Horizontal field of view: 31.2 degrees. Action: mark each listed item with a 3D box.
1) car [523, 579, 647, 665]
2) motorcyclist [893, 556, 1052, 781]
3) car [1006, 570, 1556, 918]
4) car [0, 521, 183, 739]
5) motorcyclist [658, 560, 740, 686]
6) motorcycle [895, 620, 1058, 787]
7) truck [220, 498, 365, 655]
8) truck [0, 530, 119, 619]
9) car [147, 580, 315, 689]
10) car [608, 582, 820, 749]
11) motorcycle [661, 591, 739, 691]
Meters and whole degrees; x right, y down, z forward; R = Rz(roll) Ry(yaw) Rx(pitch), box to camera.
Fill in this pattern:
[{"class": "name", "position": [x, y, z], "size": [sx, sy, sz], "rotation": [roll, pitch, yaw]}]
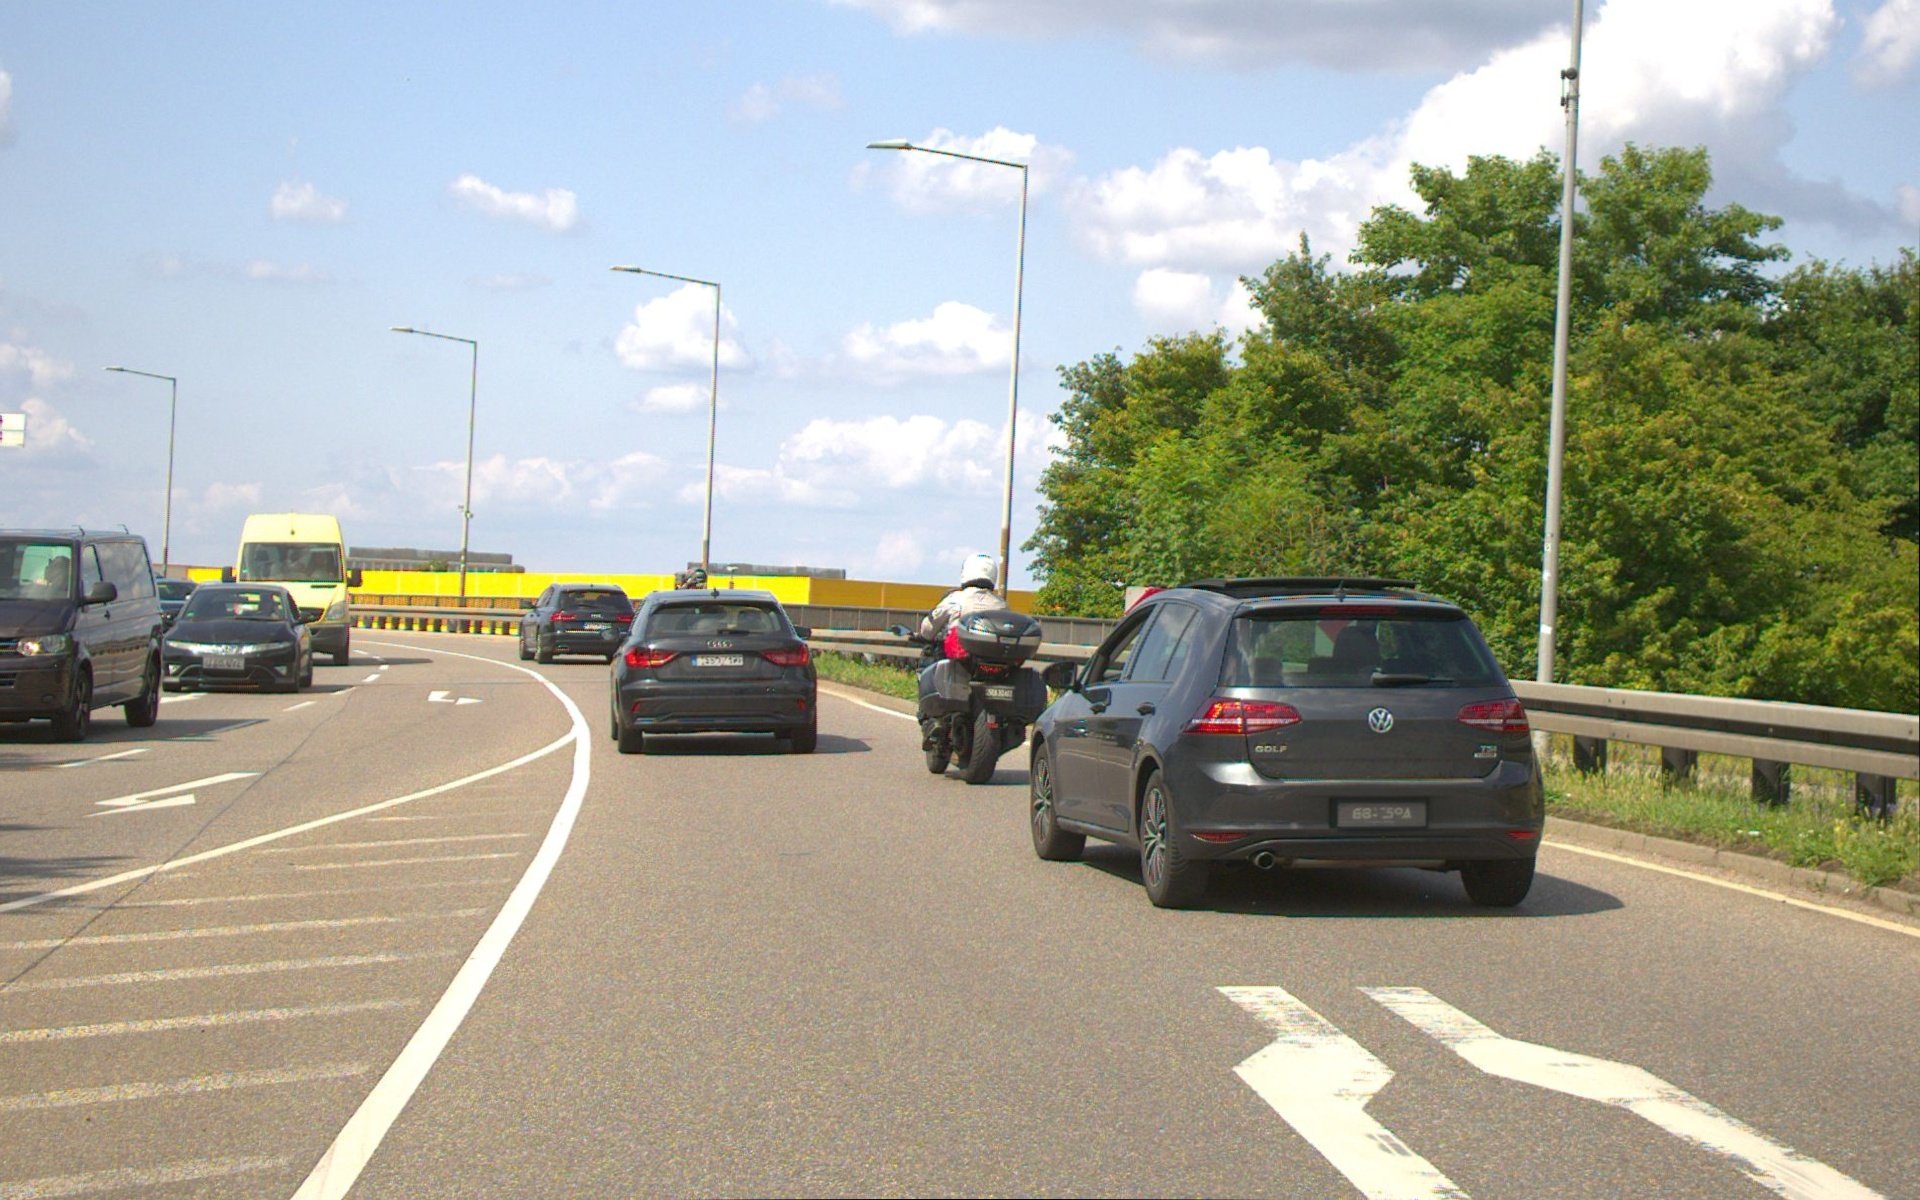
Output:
[{"class": "car", "position": [-6.845, 0.389, 62.436], "size": [1.642, 1.474, 3.873], "rotation": [1, 0, -15]}, {"class": "motorcyclist", "position": [0.081, 0.497, 25.480], "size": [0.965, 1.615, 1.125], "rotation": [2, 0, -9]}, {"class": "car", "position": [1.416, 0.625, 16.655], "size": [1.642, 1.474, 3.873], "rotation": [1, 0, -10]}, {"class": "car", "position": [-8.946, 0.238, 32.743], "size": [1.993, 1.907, 5.133], "rotation": [0, 1, -1]}, {"class": "motorcyclist", "position": [-3.410, 0.296, 44.864], "size": [0.965, 1.590, 1.125], "rotation": [2, 0, -7]}, {"class": "motorcycle", "position": [0.093, 0.735, 25.316], "size": [0.789, 1.128, 2.400], "rotation": [1, 0, -9]}, {"class": "truck", "position": [-11.830, -0.434, 60.650], "size": [1.993, 2.612, 6.106], "rotation": [-1, 1, -16]}, {"class": "truck", "position": [-26.295, -0.750, 99.524], "size": [1.993, 2.499, 5.947], "rotation": [0, 1, -32]}, {"class": "car", "position": [-9.784, 0.436, 46.376], "size": [1.798, 1.384, 4.007], "rotation": [0, 0, -6]}, {"class": "car", "position": [-2.238, 0.569, 30.572], "size": [1.681, 1.383, 3.740], "rotation": [0, -1, -7]}, {"class": "motorcycle", "position": [-3.406, 0.515, 44.925], "size": [0.887, 1.243, 2.400], "rotation": [1, 0, -7]}]
